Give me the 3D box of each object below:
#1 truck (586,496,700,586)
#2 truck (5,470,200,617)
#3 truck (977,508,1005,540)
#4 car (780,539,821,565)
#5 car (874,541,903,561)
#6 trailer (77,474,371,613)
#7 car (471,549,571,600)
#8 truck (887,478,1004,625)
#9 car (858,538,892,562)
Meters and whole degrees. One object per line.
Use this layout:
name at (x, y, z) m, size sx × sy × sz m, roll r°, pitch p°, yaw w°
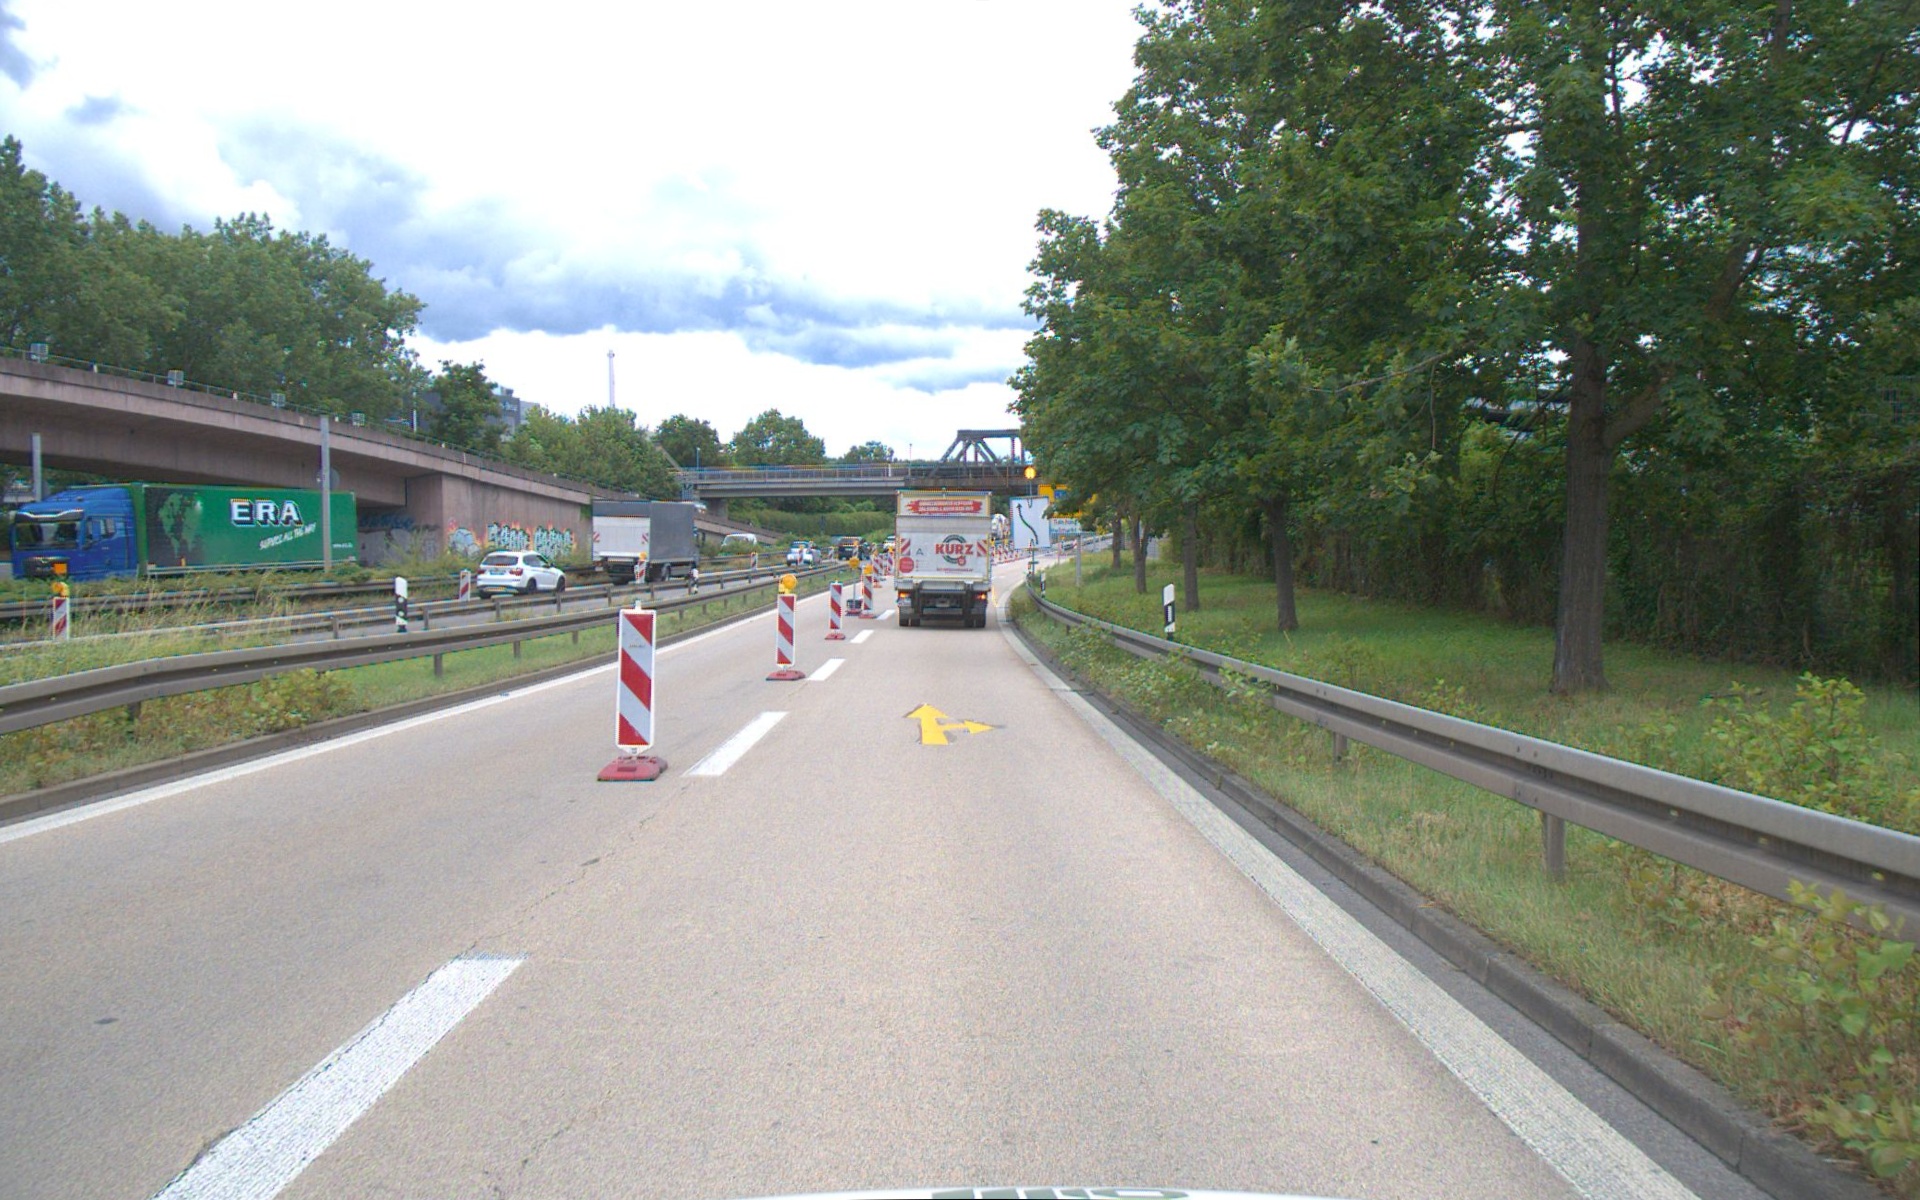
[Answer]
truck at (-13.680, -2.544, 72.115) m, size 2.986 × 3.719 × 7.401 m, roll 0°, pitch 2°, yaw 5°
truck at (-26.728, -1.772, 51.840) m, size 2.694 × 4.346 × 5.508 m, roll 0°, pitch 2°, yaw 8°
truck at (4.016, -9.663, 210.356) m, size 3.217 × 3.919 × 7.670 m, roll 0°, pitch 2°, yaw 4°
car at (-10.136, -3.069, 105.053) m, size 1.951 × 1.646 × 4.003 m, roll 0°, pitch 2°, yaw 4°
car at (-5.955, -4.080, 137.848) m, size 1.951 × 1.646 × 4.003 m, roll 0°, pitch 2°, yaw 4°
trailer at (-25.778, -1.998, 59.272) m, size 2.712 × 4.368 × 13.993 m, roll 0°, pitch 2°, yaw 7°
car at (-15.454, -0.939, 58.496) m, size 1.951 × 1.742 × 4.105 m, roll 0°, pitch 2°, yaw 8°
truck at (-0.373, -1.295, 46.092) m, size 2.988 × 3.737 × 7.927 m, roll 0°, pitch 1°, yaw 0°
car at (-5.974, -3.541, 116.565) m, size 1.951 × 1.646 × 4.003 m, roll 0°, pitch 2°, yaw 4°
